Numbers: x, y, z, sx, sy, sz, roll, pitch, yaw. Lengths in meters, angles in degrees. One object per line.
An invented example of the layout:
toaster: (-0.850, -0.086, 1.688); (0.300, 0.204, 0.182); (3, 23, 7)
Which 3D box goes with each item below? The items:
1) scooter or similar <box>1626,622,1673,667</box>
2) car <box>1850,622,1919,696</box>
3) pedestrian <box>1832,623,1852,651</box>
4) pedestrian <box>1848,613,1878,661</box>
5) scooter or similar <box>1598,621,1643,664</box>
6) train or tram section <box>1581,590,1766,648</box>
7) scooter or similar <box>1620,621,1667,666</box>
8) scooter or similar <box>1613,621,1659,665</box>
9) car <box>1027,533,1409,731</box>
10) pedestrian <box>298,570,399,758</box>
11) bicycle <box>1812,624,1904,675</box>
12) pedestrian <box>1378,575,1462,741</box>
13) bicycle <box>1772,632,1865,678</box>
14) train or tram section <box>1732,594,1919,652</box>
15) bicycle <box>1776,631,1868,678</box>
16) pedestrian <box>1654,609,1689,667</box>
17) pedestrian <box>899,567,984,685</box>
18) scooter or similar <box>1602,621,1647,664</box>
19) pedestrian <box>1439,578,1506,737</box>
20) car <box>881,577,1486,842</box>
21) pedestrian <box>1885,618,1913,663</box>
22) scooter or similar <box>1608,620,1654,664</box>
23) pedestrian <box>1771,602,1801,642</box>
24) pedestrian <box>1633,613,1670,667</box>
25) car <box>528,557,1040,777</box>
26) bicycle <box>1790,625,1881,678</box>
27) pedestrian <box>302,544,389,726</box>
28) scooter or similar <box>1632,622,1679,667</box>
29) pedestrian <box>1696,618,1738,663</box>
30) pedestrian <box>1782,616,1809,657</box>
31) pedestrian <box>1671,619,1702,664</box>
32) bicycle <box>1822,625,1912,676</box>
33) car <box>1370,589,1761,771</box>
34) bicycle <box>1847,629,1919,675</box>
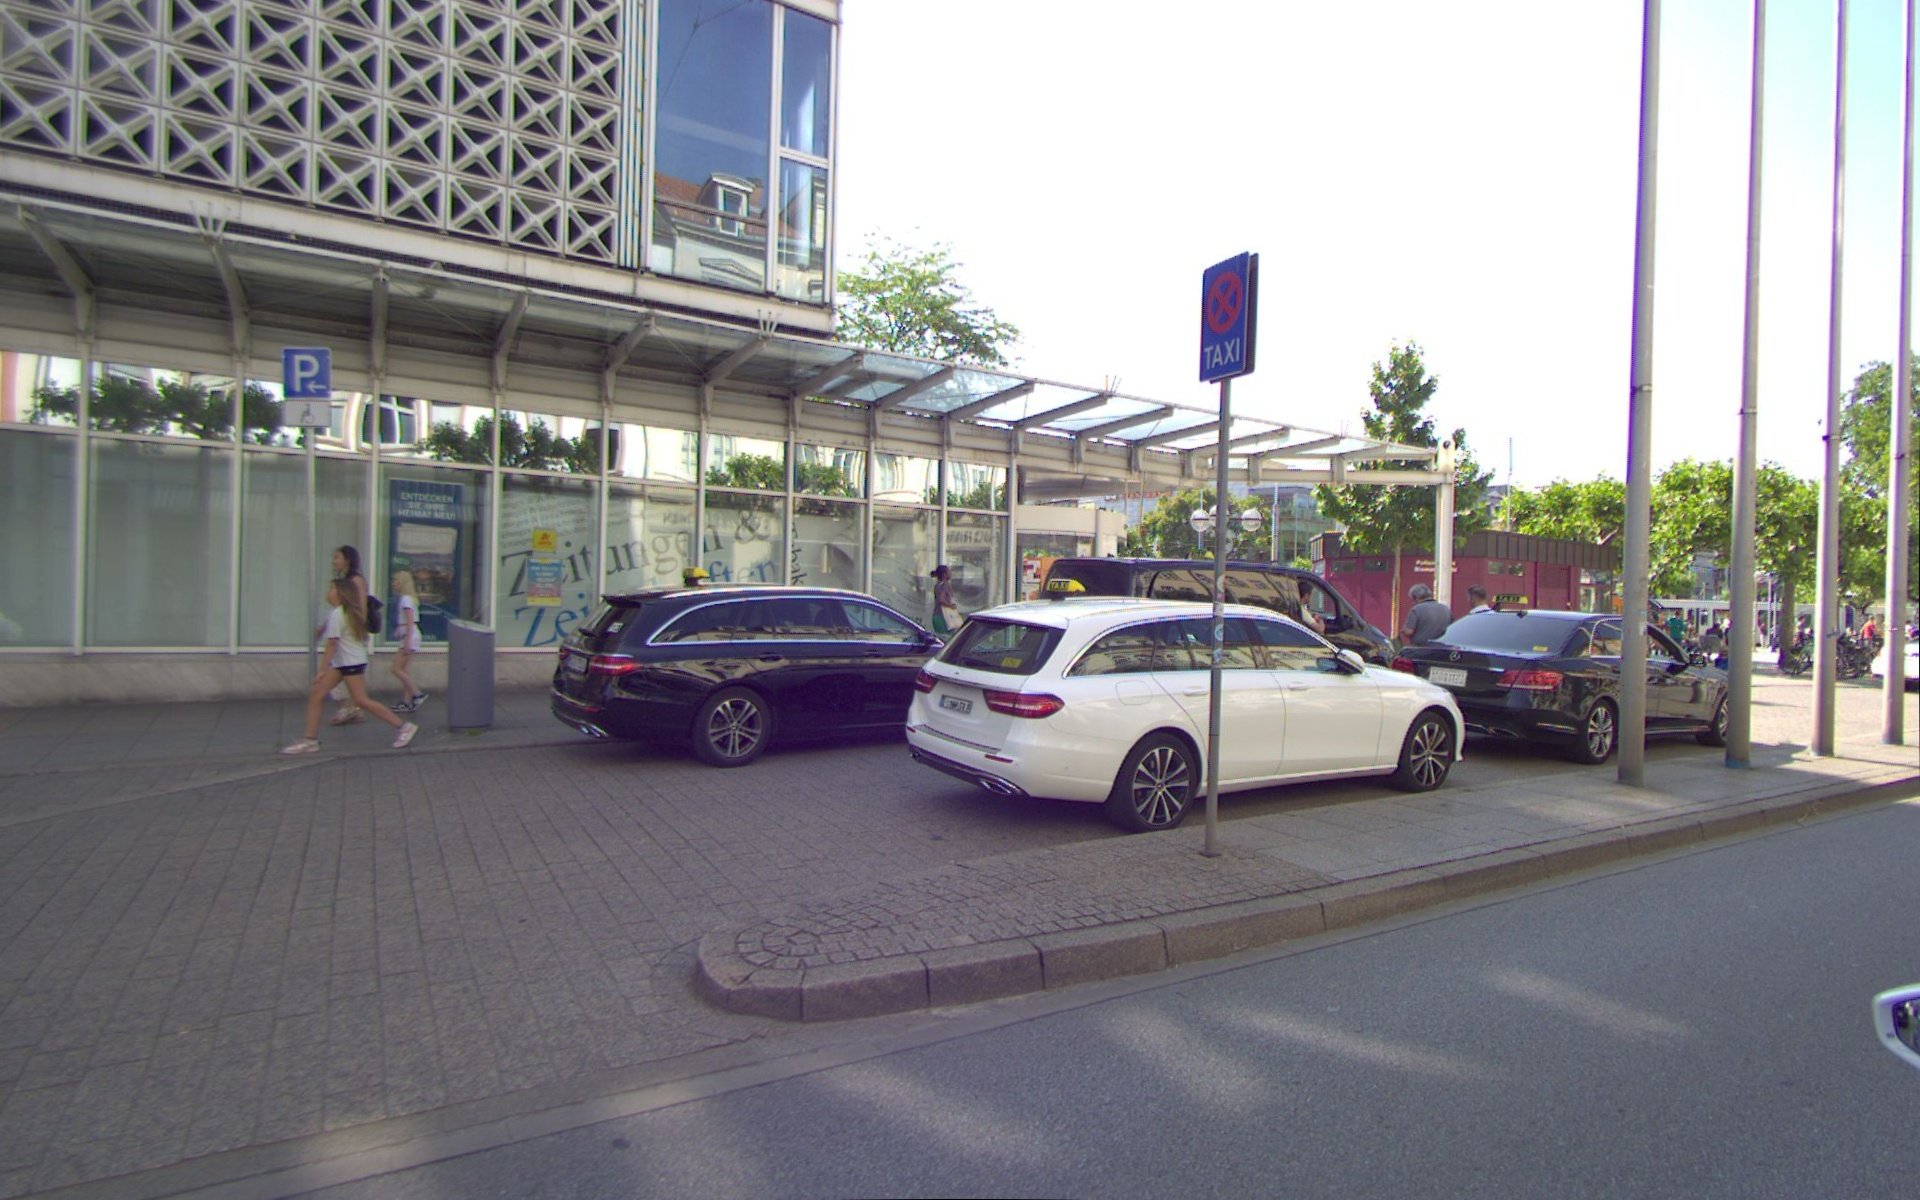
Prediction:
scooter or similar: (19.517, 1.265, 28.425); (1.280, 1.230, 0.233); (2, 1, -12)
car: (23.353, 1.394, 22.787); (4.768, 1.562, 1.896); (2, 1, -4)
pedestrian: (41.175, 1.734, 46.896); (0.601, 1.279, 0.610); (1, 0, 37)
pedestrian: (36.758, 1.504, 40.897); (0.651, 1.904, 0.631); (3, 1, 25)
scooter or similar: (19.509, 1.244, 29.670); (1.280, 1.230, 0.233); (2, 1, -12)
train or tram section: (50.261, 1.305, 70.987); (10.780, 3.726, 2.622); (1, 0, 4)
scooter or similar: (19.505, 1.242, 28.662); (1.280, 1.230, 0.233); (2, 1, -12)
scooter or similar: (19.456, 1.247, 28.900); (1.280, 1.230, 0.233); (2, 1, -12)
car: (3.245, 0.364, 12.349); (4.632, 2.040, 1.823); (1, 0, -31)
pedestrian: (-5.037, 0.509, 8.274); (0.634, 1.456, 0.589); (2, 2, -33)
bicycle: (24.802, 1.348, 27.784); (0.656, 1.326, 1.771); (1, 0, -33)
pedestrian: (5.195, 0.636, 11.379); (0.679, 1.816, 0.620); (1, 0, 9)
bicycle: (22.631, 1.429, 26.503); (0.557, 1.120, 1.771); (1, 0, -33)
train or tram section: (62.814, 1.644, 69.937); (15.233, 3.726, 2.623); (1, 0, 5)
bicycle: (23.135, 1.444, 26.993); (0.557, 1.147, 1.771); (1, 0, -33)
pedestrian: (21.553, 1.136, 30.418); (0.681, 1.700, 0.665); (1, 1, -39)
pedestrian: (-0.269, 0.384, 14.972); (1.094, 1.684, 0.593); (1, 0, -30)
scooter or similar: (19.468, 1.236, 29.416); (1.280, 1.230, 0.233); (2, 1, -12)
pedestrian: (6.034, 0.663, 11.845); (0.528, 1.816, 0.533); (1, 0, 9)
car: (1.878, 0.654, 7.860); (4.684, 1.543, 1.789); (1, 1, -31)
pedestrian: (37.264, 1.610, 39.877); (0.598, 1.762, 0.574); (2, 1, -25)
scooter or similar: (19.476, 1.211, 29.154); (1.280, 1.230, 0.233); (2, 1, -12)
pedestrian: (37.441, 0.999, 45.561); (0.788, 1.772, 0.606); (2, 0, 1)
pedestrian: (21.506, 1.220, 31.246); (0.668, 1.627, 0.795); (1, 1, -44)
car: (-1.554, 0.524, 9.541); (4.358, 1.632, 1.980); (2, 1, -36)
bicycle: (23.673, 1.366, 27.190); (0.557, 1.326, 1.771); (1, 0, -33)
pedestrian: (-6.010, 0.319, 9.818); (0.634, 1.683, 0.782); (2, 2, -33)
scooter or similar: (19.497, 1.243, 28.167); (1.280, 1.230, 0.233); (2, 1, -12)
pedestrian: (24.141, 1.285, 32.025); (0.884, 1.400, 0.669); (1, 1, -22)
pedestrian: (33.057, 1.445, 39.739); (0.598, 1.553, 0.574); (2, 1, -25)
pedestrian: (22.179, 1.263, 30.662); (0.663, 1.326, 0.684); (2, 1, 42)
bicycle: (25.552, 1.404, 28.326); (0.656, 1.326, 1.771); (1, 0, -33)
car: (6.705, 0.751, 10.958); (4.658, 1.621, 1.751); (1, 0, -32)
bicycle: (26.800, 1.497, 28.907); (0.656, 1.231, 1.771); (1, 0, -33)
